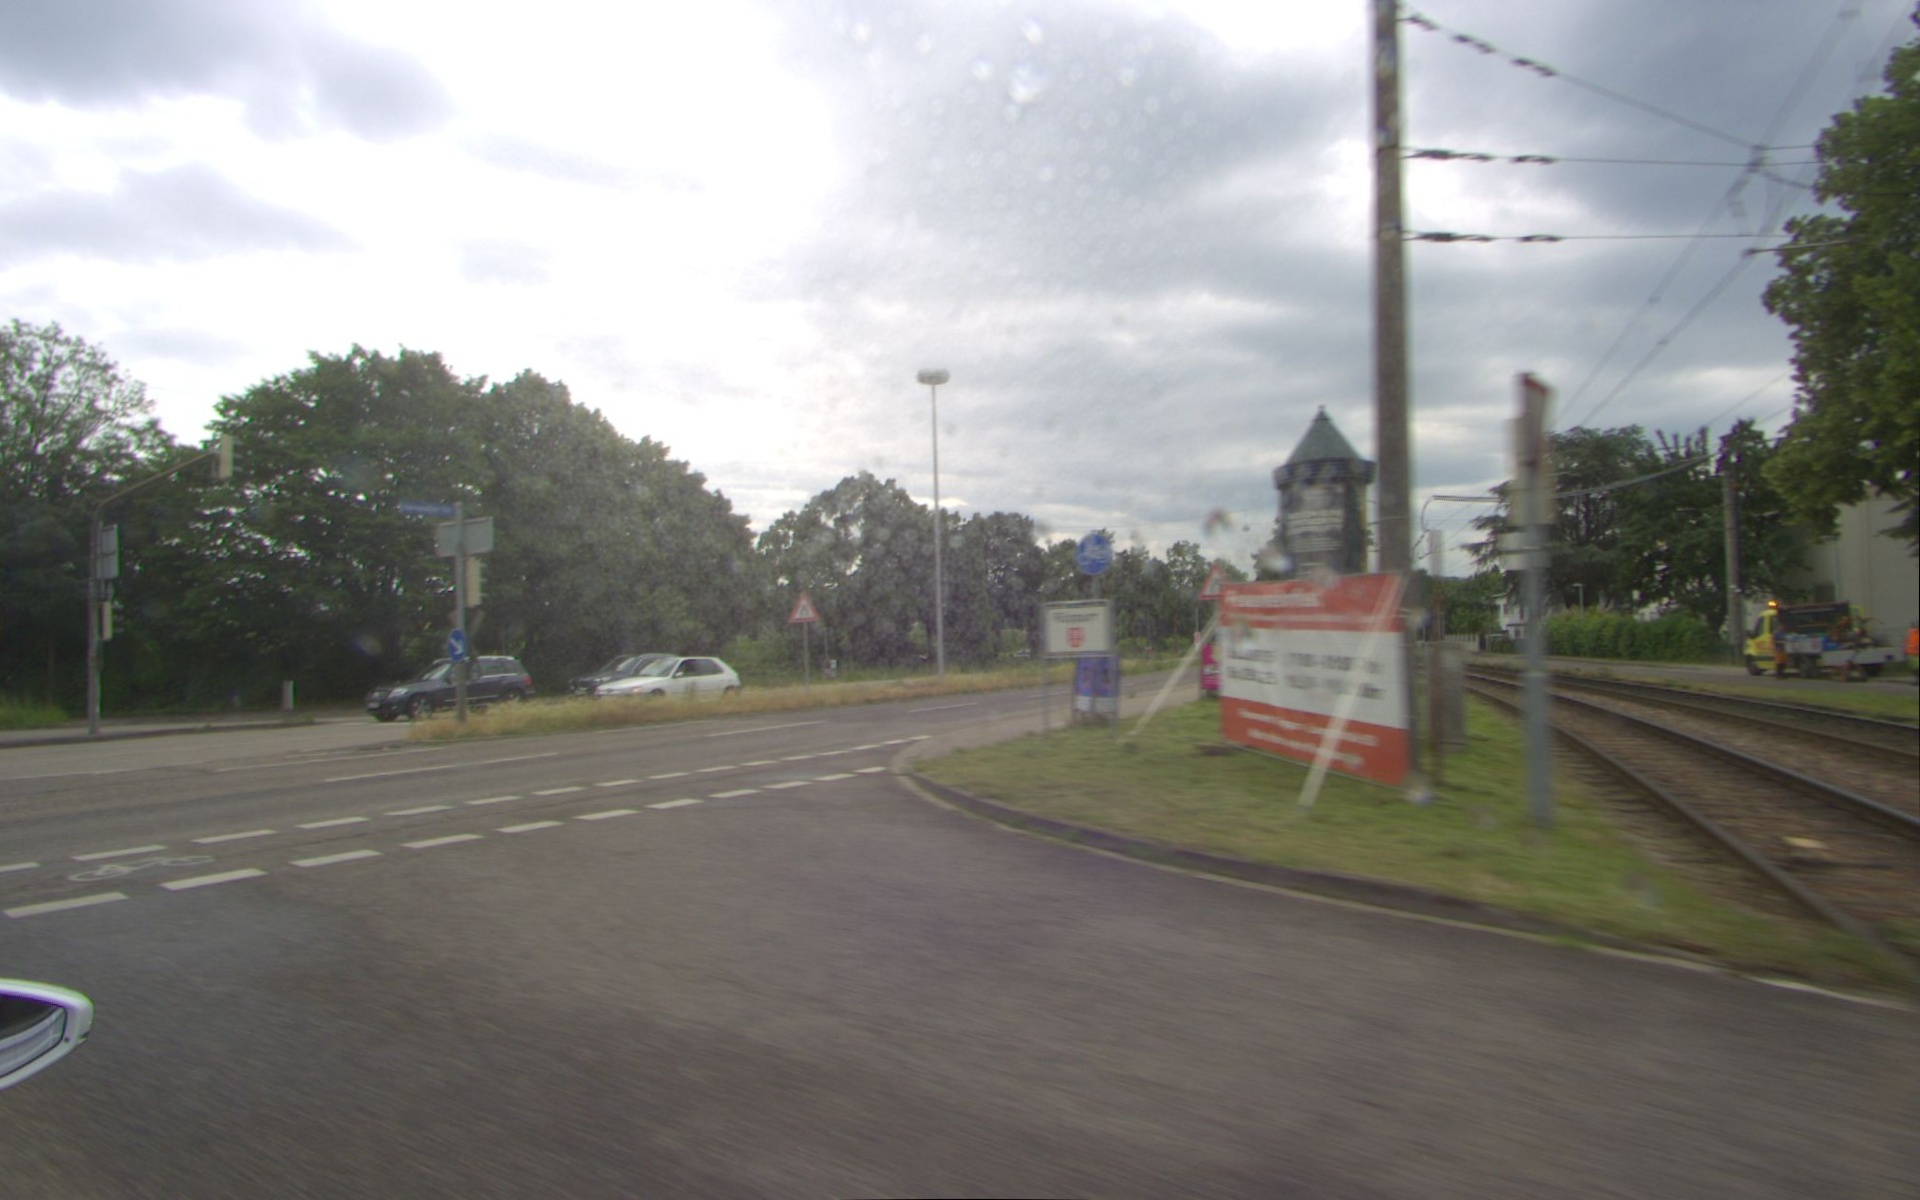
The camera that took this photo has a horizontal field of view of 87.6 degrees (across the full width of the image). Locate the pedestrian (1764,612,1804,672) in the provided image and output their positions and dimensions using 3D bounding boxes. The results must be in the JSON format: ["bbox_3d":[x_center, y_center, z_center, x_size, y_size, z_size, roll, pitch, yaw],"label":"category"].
[{"bbox_3d":[26.384,1.336,32.073,0.756,1.892,0.604,-2,-2,15],"label":"pedestrian"}]

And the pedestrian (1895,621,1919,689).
[{"bbox_3d":[25.477,1.459,26.616,0.624,1.784,0.576,-2,-2,9],"label":"pedestrian"}]

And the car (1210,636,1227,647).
[{"bbox_3d":[36.775,5.864,142.345,1.634,1.549,3.881,-2,-2,23],"label":"car"}]

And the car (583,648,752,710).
[{"bbox_3d":[-7.326,1.946,25.465,1.623,1.374,4.132,-3,-3,30],"label":"car"}]

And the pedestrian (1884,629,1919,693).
[{"bbox_3d":[28.364,1.824,30.015,0.598,1.863,0.712,-1,-2,-15],"label":"pedestrian"}]

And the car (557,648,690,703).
[{"bbox_3d":[-11.100,2.461,33.254,1.850,1.638,3.984,-3,-3,28],"label":"car"}]

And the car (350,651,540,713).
[{"bbox_3d":[-14.295,2.236,28.062,1.819,1.523,4.459,-3,-3,30],"label":"car"}]
